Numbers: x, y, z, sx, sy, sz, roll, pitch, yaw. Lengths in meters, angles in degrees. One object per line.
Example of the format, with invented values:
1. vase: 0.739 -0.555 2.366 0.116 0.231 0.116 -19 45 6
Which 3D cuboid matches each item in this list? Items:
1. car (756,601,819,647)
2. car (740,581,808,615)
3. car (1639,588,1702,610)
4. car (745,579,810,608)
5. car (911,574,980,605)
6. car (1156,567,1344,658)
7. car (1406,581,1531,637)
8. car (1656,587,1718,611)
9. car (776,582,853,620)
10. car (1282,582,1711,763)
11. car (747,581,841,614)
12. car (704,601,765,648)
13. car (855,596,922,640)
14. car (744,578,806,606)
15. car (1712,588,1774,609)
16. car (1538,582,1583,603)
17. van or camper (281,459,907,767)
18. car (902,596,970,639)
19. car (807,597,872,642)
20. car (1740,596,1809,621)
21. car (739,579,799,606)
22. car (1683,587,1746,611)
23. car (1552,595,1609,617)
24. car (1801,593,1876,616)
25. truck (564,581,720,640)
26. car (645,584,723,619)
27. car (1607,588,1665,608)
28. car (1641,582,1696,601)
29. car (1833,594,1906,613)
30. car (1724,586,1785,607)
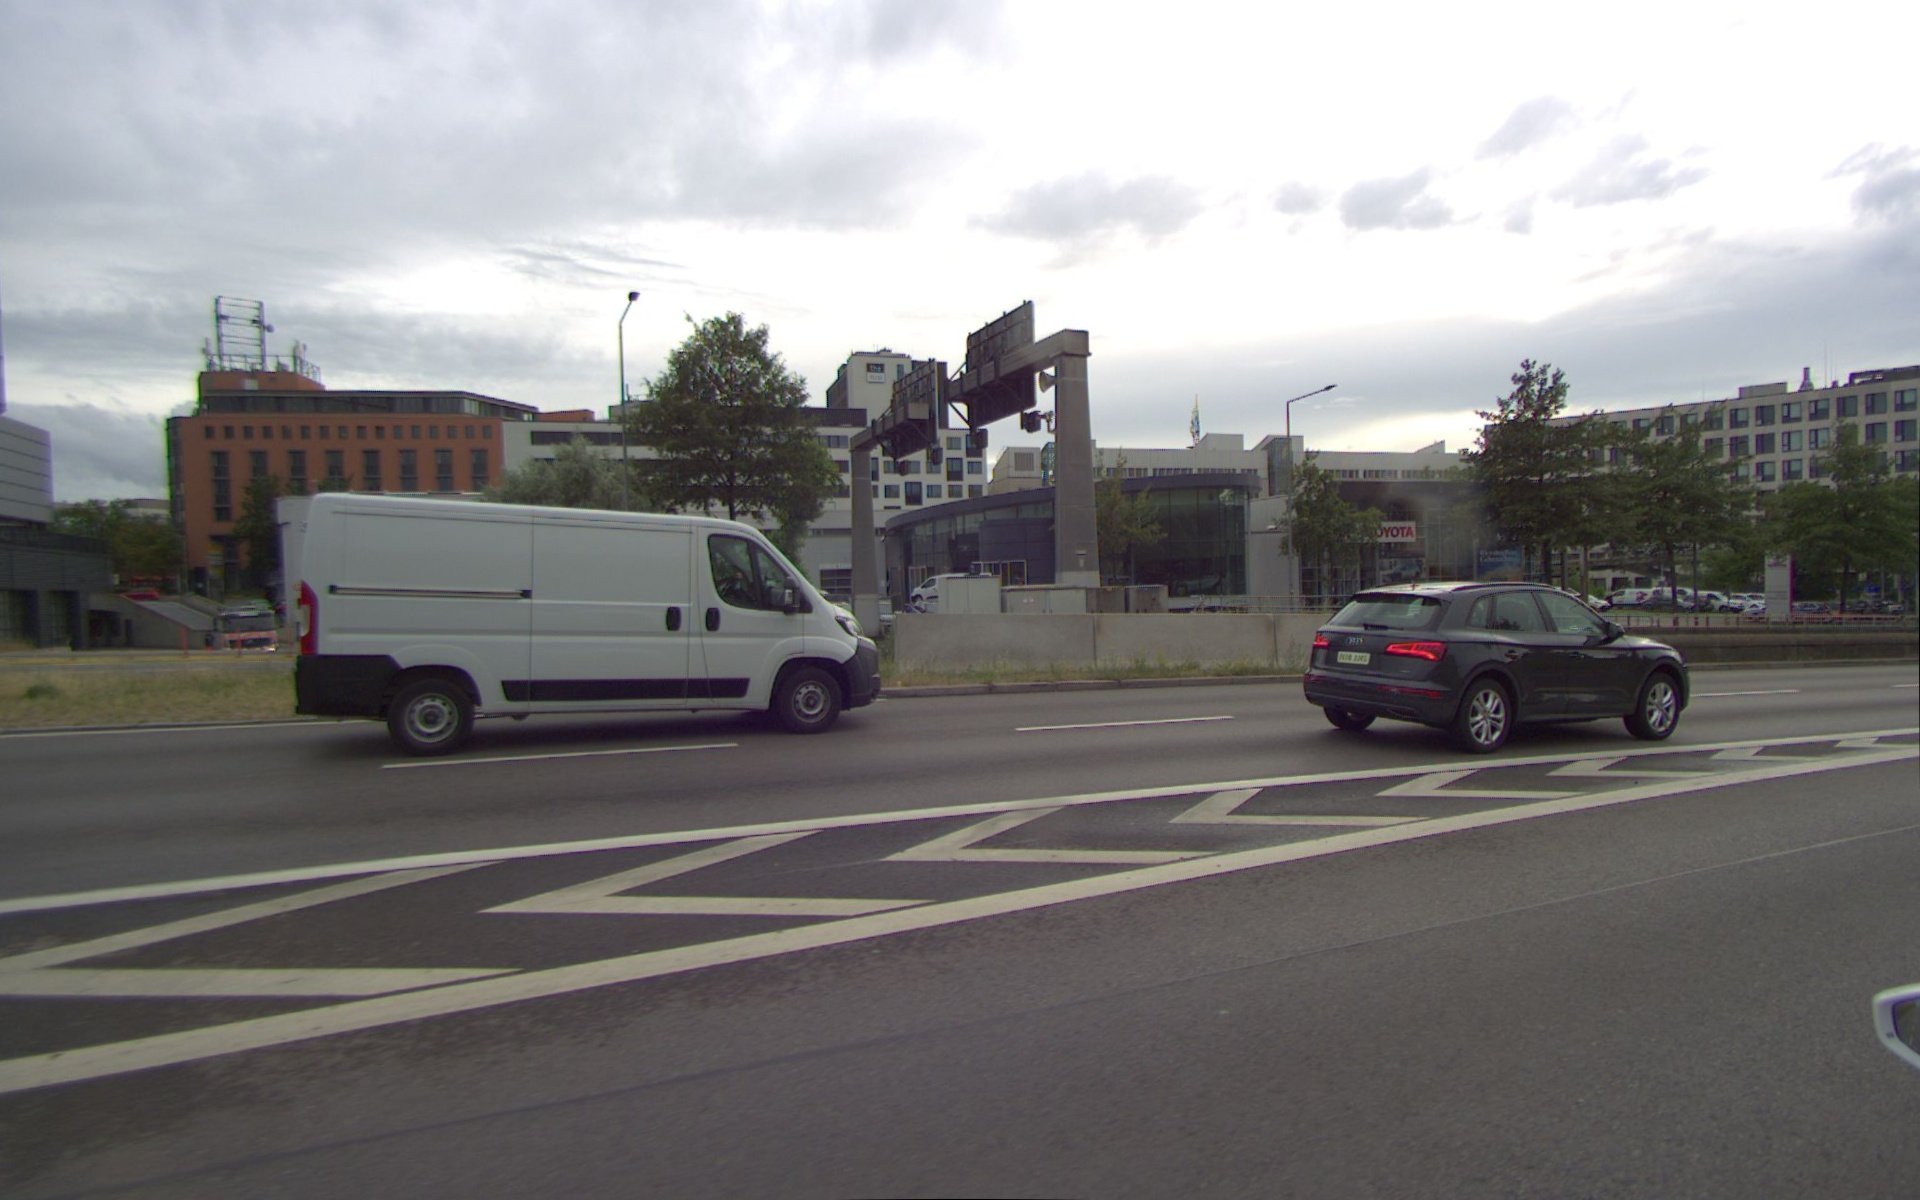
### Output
1. car: -7.674 1.002 44.380 1.895 1.707 3.978 -3 3 -22
2. car: -11.685 -0.168 63.191 3.936 1.907 1.992 -2 3 -18
3. car: 60.994 -0.145 86.269 1.973 1.673 3.974 -3 3 -25
4. car: -11.991 -0.468 65.843 3.937 1.707 1.915 -2 3 -19
5. car: -0.923 -0.693 62.298 3.936 1.807 1.916 1 4 37
6. car: 5.949 0.191 20.605 3.501 1.612 1.682 -3 3 -26
7. car: 18.136 0.268 35.849 3.945 1.774 1.987 -2 3 -25
8. car: 63.333 -0.068 87.524 1.969 2.041 3.983 0 1 -18
9. car: -8.121 0.012 56.019 3.936 1.907 1.900 -2 3 -18
10. car: 5.896 0.664 10.925 4.687 1.639 1.745 1 1 -27
11. car: -10.129 -0.181 61.194 5.448 1.907 1.992 -1 3 -18
12. car: -9.806 0.989 43.450 1.895 1.707 3.978 -3 3 -22
13. car: -3.354 0.786 46.416 1.895 1.707 3.978 -3 3 -22
14. car: -12.701 -0.561 68.824 3.937 1.707 1.915 -2 3 -19
15. car: 70.429 -0.177 90.404 1.968 1.673 3.983 -2 3 -18
16. car: 61.557 -0.796 103.047 3.927 2.076 1.996 0 3 29
17. van or camper: -3.478 0.149 10.280 5.460 2.471 2.196 1 -1 -27
18. car: -1.170 0.778 47.187 1.895 1.707 3.978 -3 3 -22
19. car: -5.502 0.825 45.363 1.895 1.707 3.978 -3 3 -22
20. car: 62.227 0.638 76.817 3.936 1.673 1.992 2 3 37
21. car: -13.507 -0.554 71.015 3.937 1.707 1.915 -2 3 -19
22. car: 65.816 -0.133 87.682 1.968 1.902 3.983 -2 3 -18
23. car: 54.590 0.475 88.468 1.968 1.673 3.983 -2 3 -18
24. car: 69.387 0.336 79.421 1.970 1.673 3.979 0 2 -21
25. truck: -16.050 0.450 50.772 7.302 2.562 2.361 -3 3 -22
26. car: -15.033 0.048 54.645 3.937 1.707 1.915 -2 3 -19
27. car: 62.396 -0.211 92.771 1.973 1.673 3.974 -3 3 -25
28. car: 67.689 -0.825 95.991 1.797 1.673 3.972 -3 3 -27
29. car: 73.710 0.279 81.432 1.822 1.372 3.979 0 2 -21
30. car: 72.570 -0.346 91.784 1.968 1.673 3.983 -2 3 -18
